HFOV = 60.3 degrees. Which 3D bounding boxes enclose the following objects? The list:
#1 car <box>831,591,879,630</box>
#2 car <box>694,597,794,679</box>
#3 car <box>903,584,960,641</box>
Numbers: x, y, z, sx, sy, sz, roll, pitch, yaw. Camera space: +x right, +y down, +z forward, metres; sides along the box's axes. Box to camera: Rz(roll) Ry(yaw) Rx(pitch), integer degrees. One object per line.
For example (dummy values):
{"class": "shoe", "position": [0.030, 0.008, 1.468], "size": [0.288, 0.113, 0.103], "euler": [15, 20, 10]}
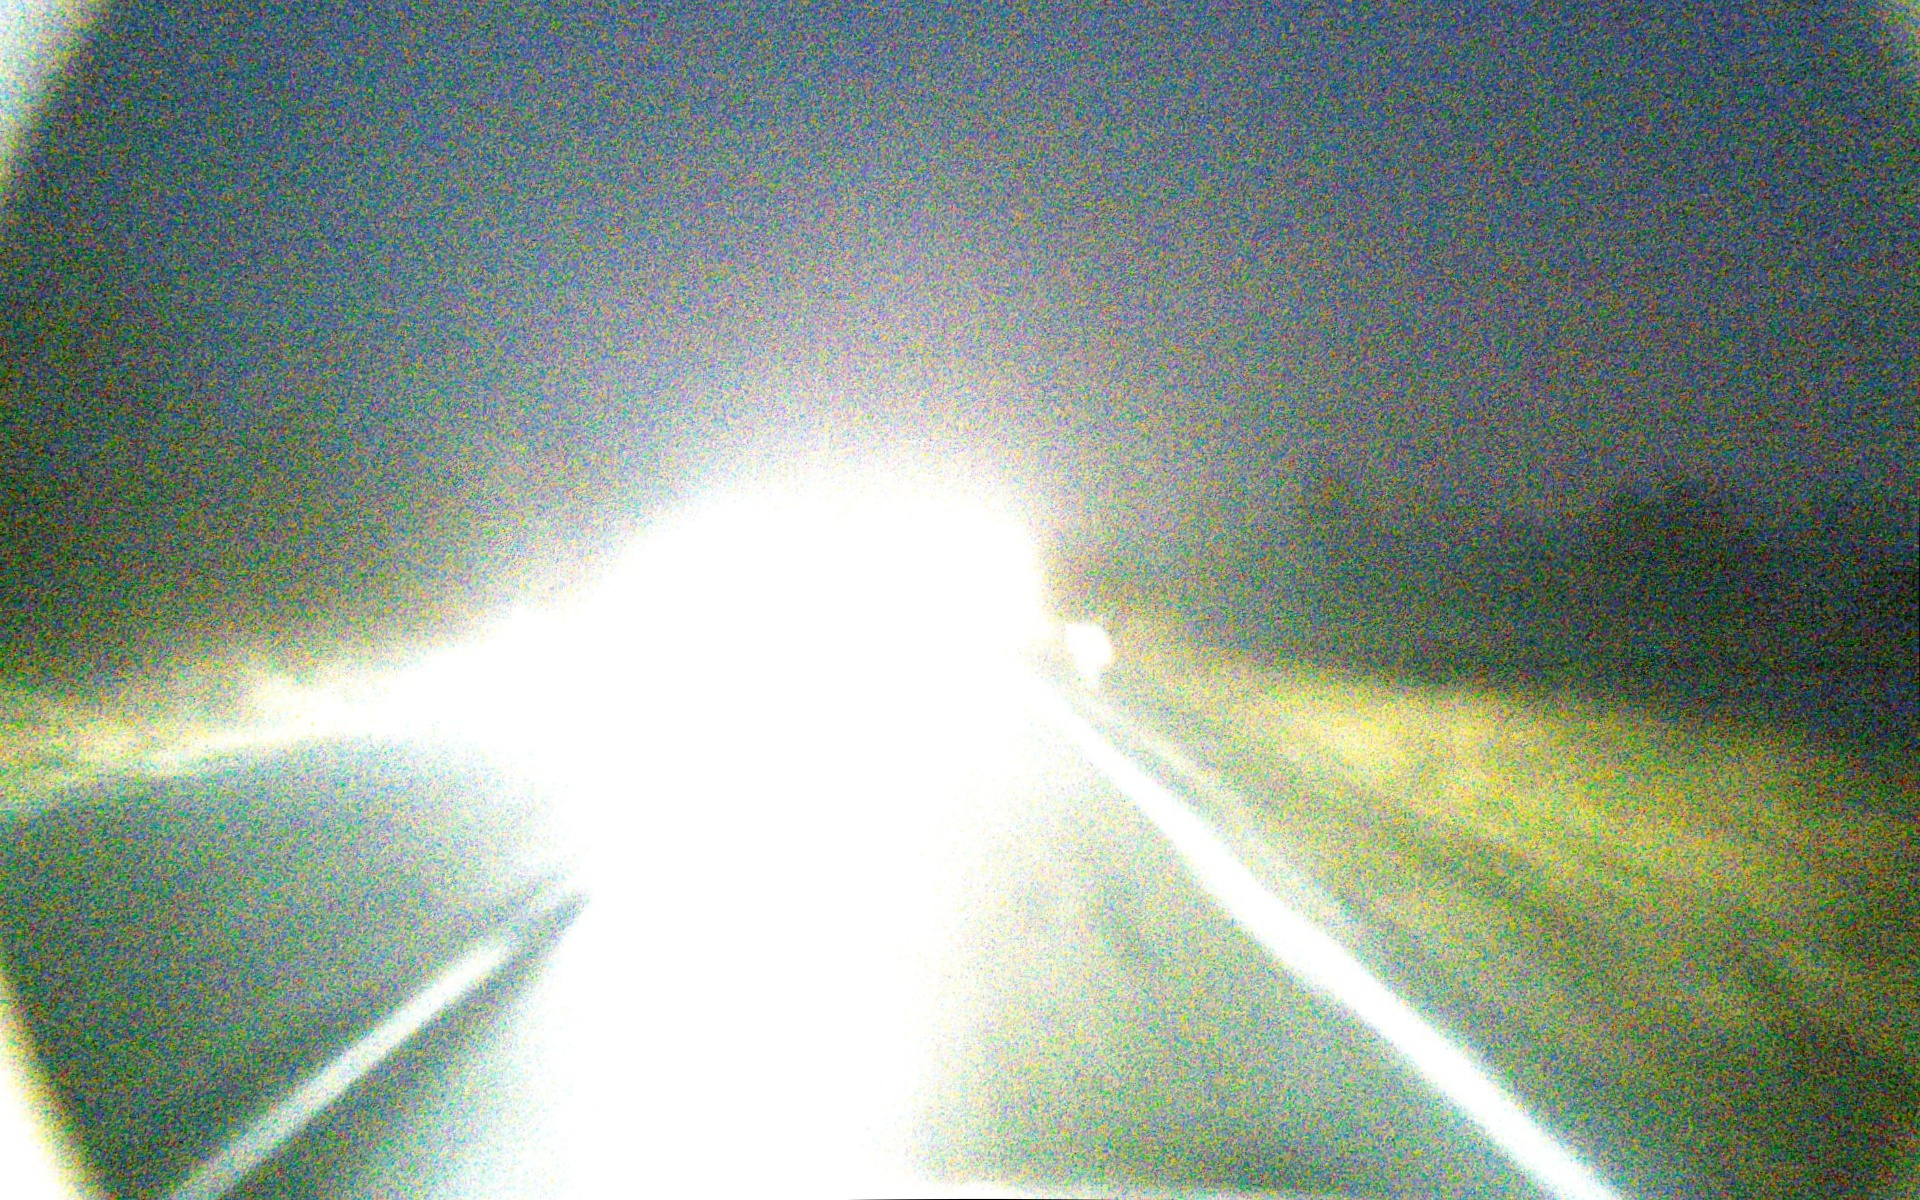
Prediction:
{"class": "car", "position": [-4.829, 0.473, 76.665], "size": [1.953, 1.690, 3.999], "euler": [2, 0, -1]}
{"class": "car", "position": [-4.885, 0.867, 37.891], "size": [1.954, 1.690, 3.996], "euler": [2, -1, -4]}
{"class": "car", "position": [-0.987, 0.395, 56.451], "size": [1.805, 1.770, 3.999], "euler": [2, 1, -1]}
